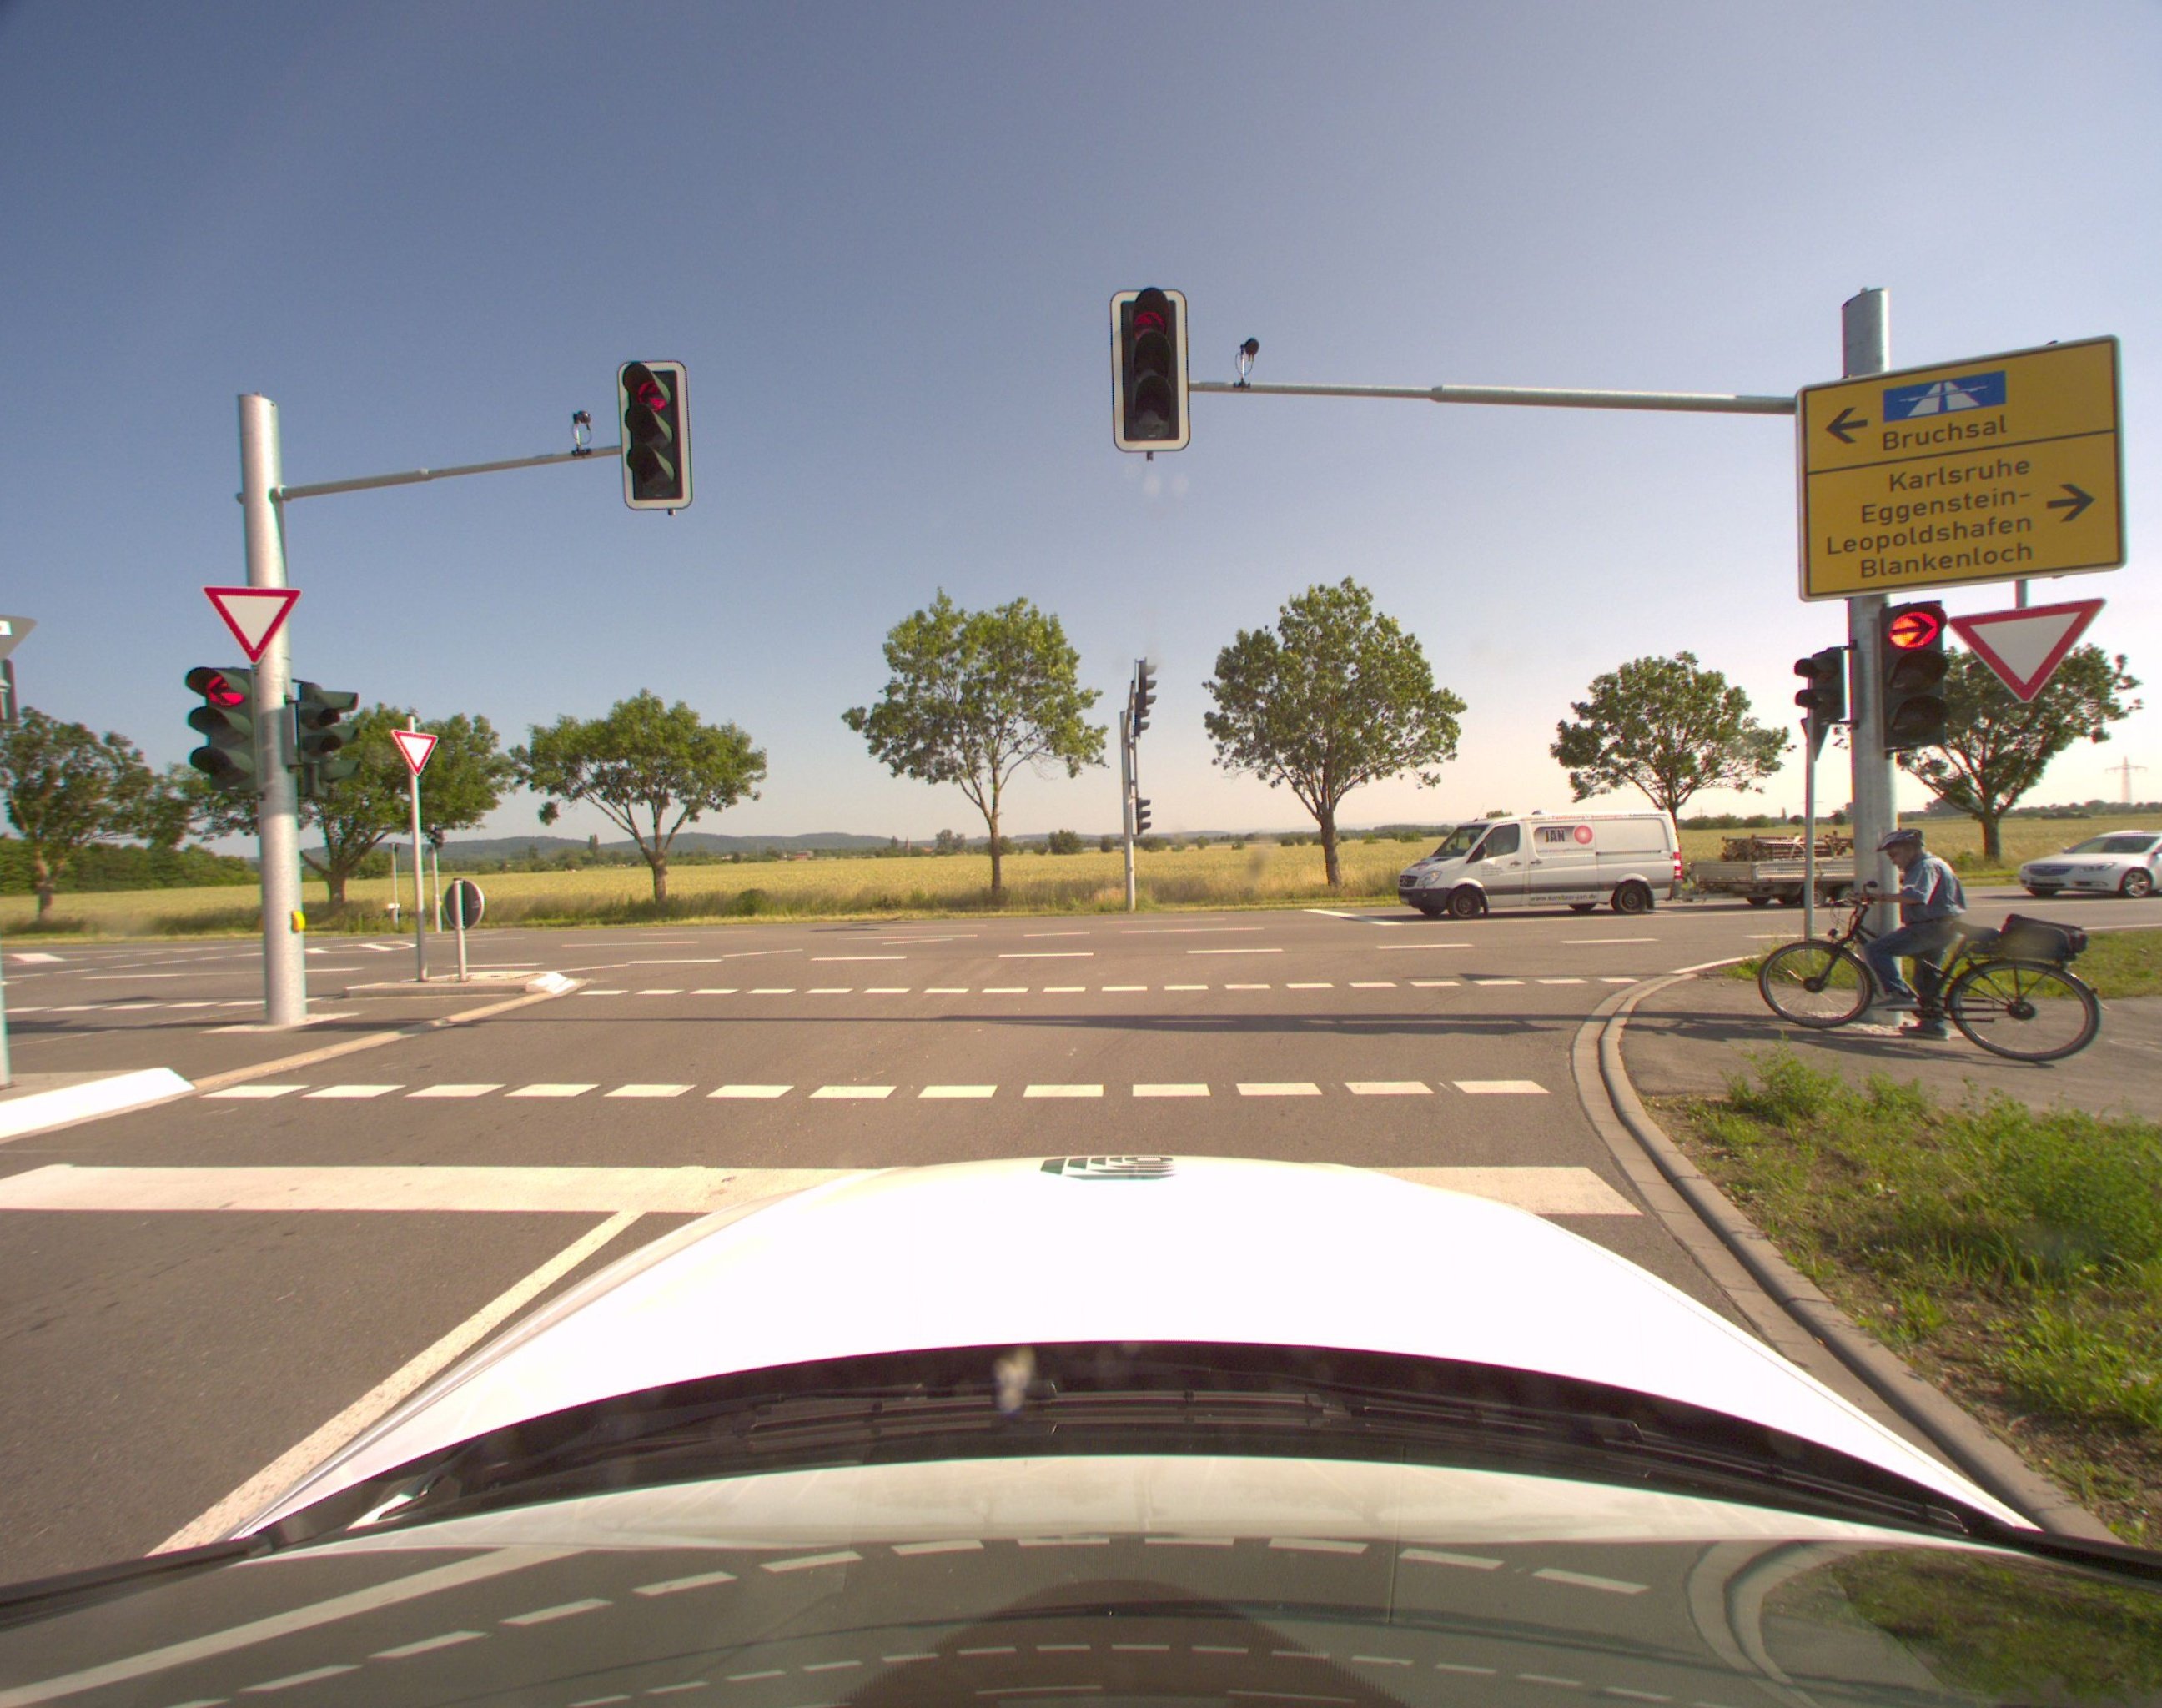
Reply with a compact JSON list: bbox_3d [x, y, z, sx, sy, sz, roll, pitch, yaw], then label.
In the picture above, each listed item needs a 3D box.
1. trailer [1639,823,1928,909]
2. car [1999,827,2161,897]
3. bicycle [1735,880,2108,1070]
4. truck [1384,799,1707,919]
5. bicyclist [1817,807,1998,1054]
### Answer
[{"bbox_3d":[16.021,0.271,18.769,4.981,1.738,1.980,-2,-1,-1],"label":"trailer"},{"bbox_3d":[24.635,0.133,18.986,4.682,1.492,1.763,-2,-1,-3],"label":"car"},{"bbox_3d":[6.414,0.838,6.369,0.685,1.151,1.922,0,2,-44],"label":"bicycle"},{"bbox_3d":[10.431,0.123,18.664,6.157,2.405,2.071,-2,-1,0],"label":"truck"},{"bbox_3d":[6.409,0.530,6.349,0.623,1.765,0.906,0,1,-44],"label":"bicyclist"}]
